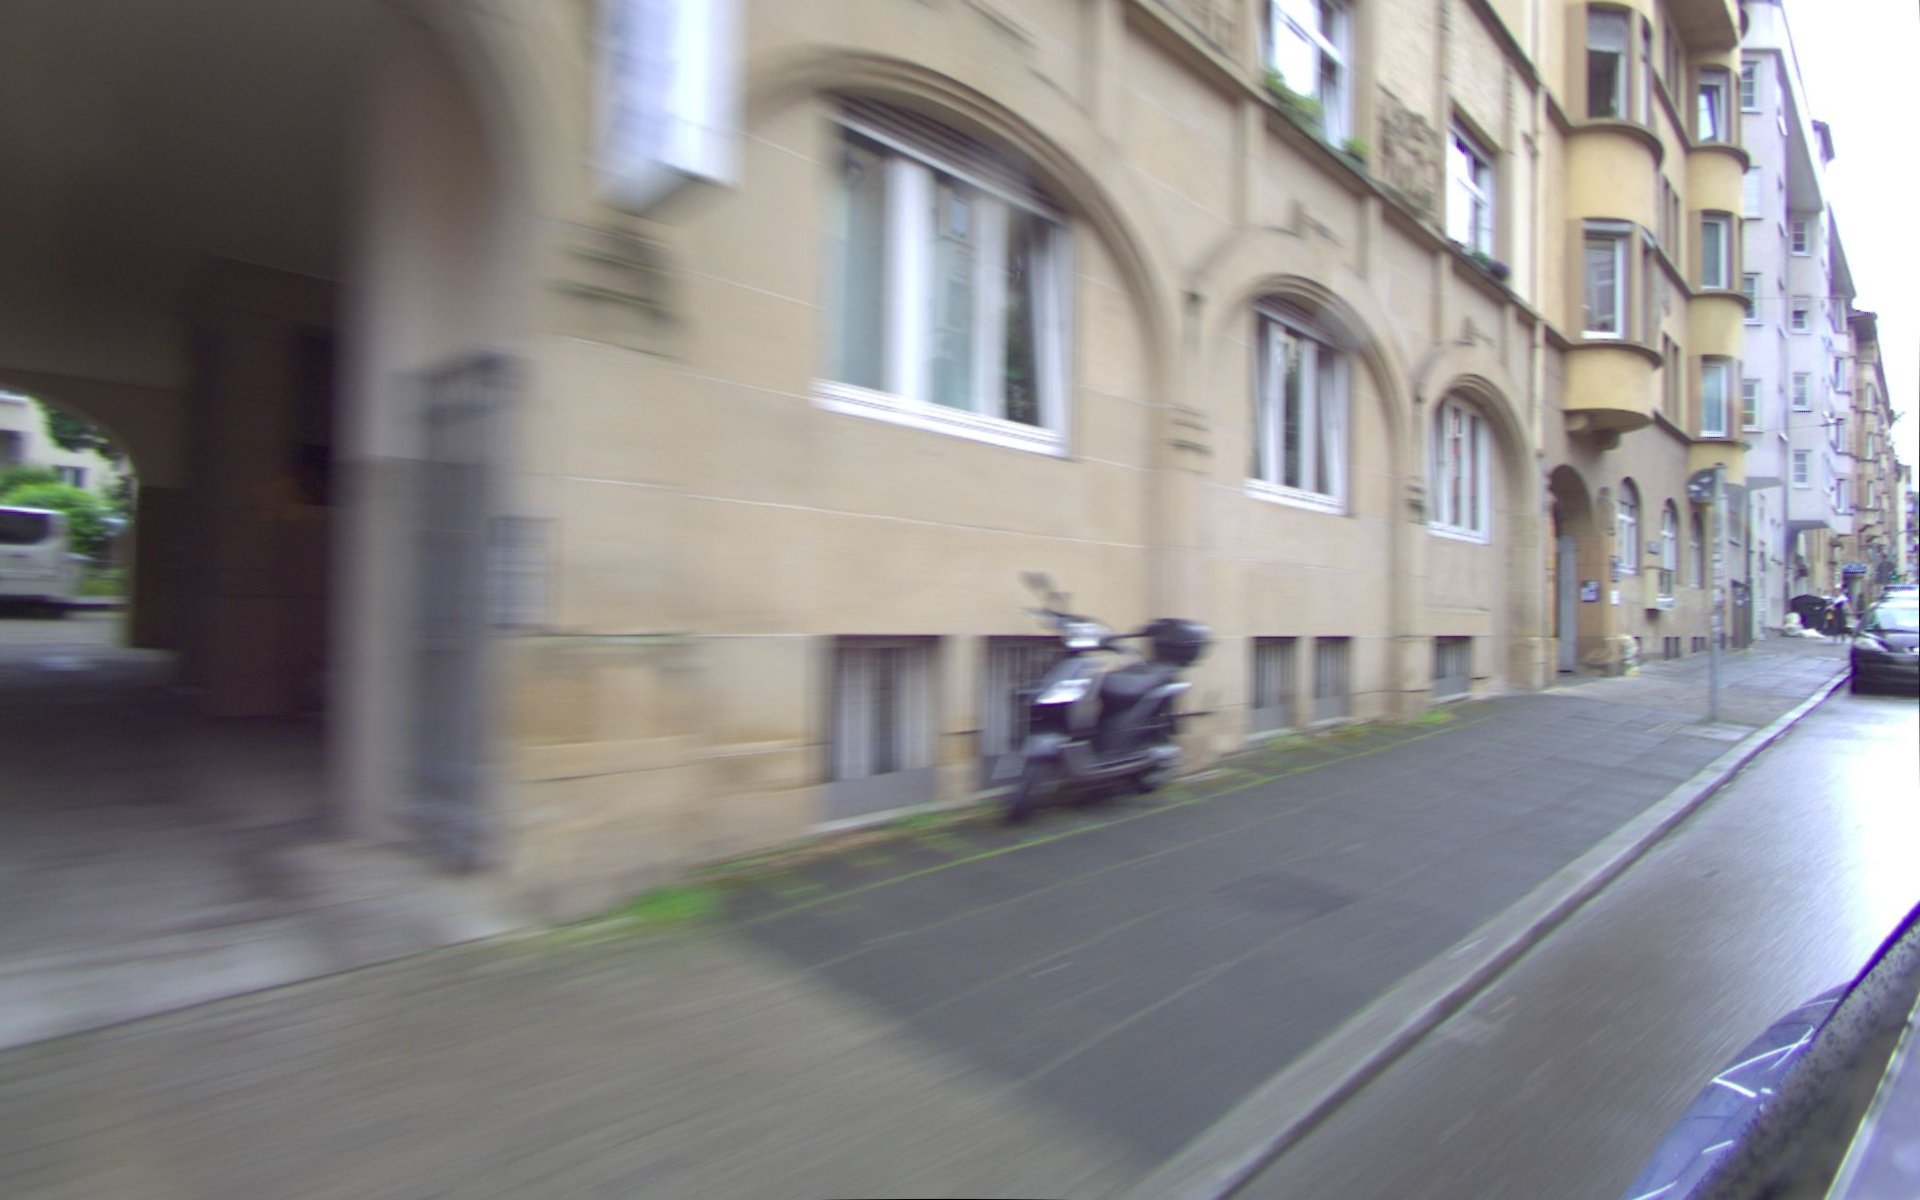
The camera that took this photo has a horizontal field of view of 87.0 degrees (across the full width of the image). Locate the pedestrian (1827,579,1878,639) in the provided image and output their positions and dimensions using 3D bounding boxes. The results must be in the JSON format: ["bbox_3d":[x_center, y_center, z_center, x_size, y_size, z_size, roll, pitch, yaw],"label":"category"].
[{"bbox_3d":[26.656,0.257,30.221,1.122,1.734,1.085,0,0,42],"label":"pedestrian"}]

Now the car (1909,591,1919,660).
[{"bbox_3d":[23.686,0.576,23.904,3.960,1.565,1.646,0,0,-44],"label":"car"}]

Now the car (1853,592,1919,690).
[{"bbox_3d":[15.906,0.606,16.547,3.933,1.470,1.631,0,1,-44],"label":"car"}]

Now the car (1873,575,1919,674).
[{"bbox_3d":[19.318,0.447,19.890,4.194,1.821,1.738,0,0,-44],"label":"car"}]

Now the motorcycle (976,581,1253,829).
[{"bbox_3d":[0.994,0.551,6.198,0.691,1.252,1.750,8,6,45],"label":"motorcycle"}]
